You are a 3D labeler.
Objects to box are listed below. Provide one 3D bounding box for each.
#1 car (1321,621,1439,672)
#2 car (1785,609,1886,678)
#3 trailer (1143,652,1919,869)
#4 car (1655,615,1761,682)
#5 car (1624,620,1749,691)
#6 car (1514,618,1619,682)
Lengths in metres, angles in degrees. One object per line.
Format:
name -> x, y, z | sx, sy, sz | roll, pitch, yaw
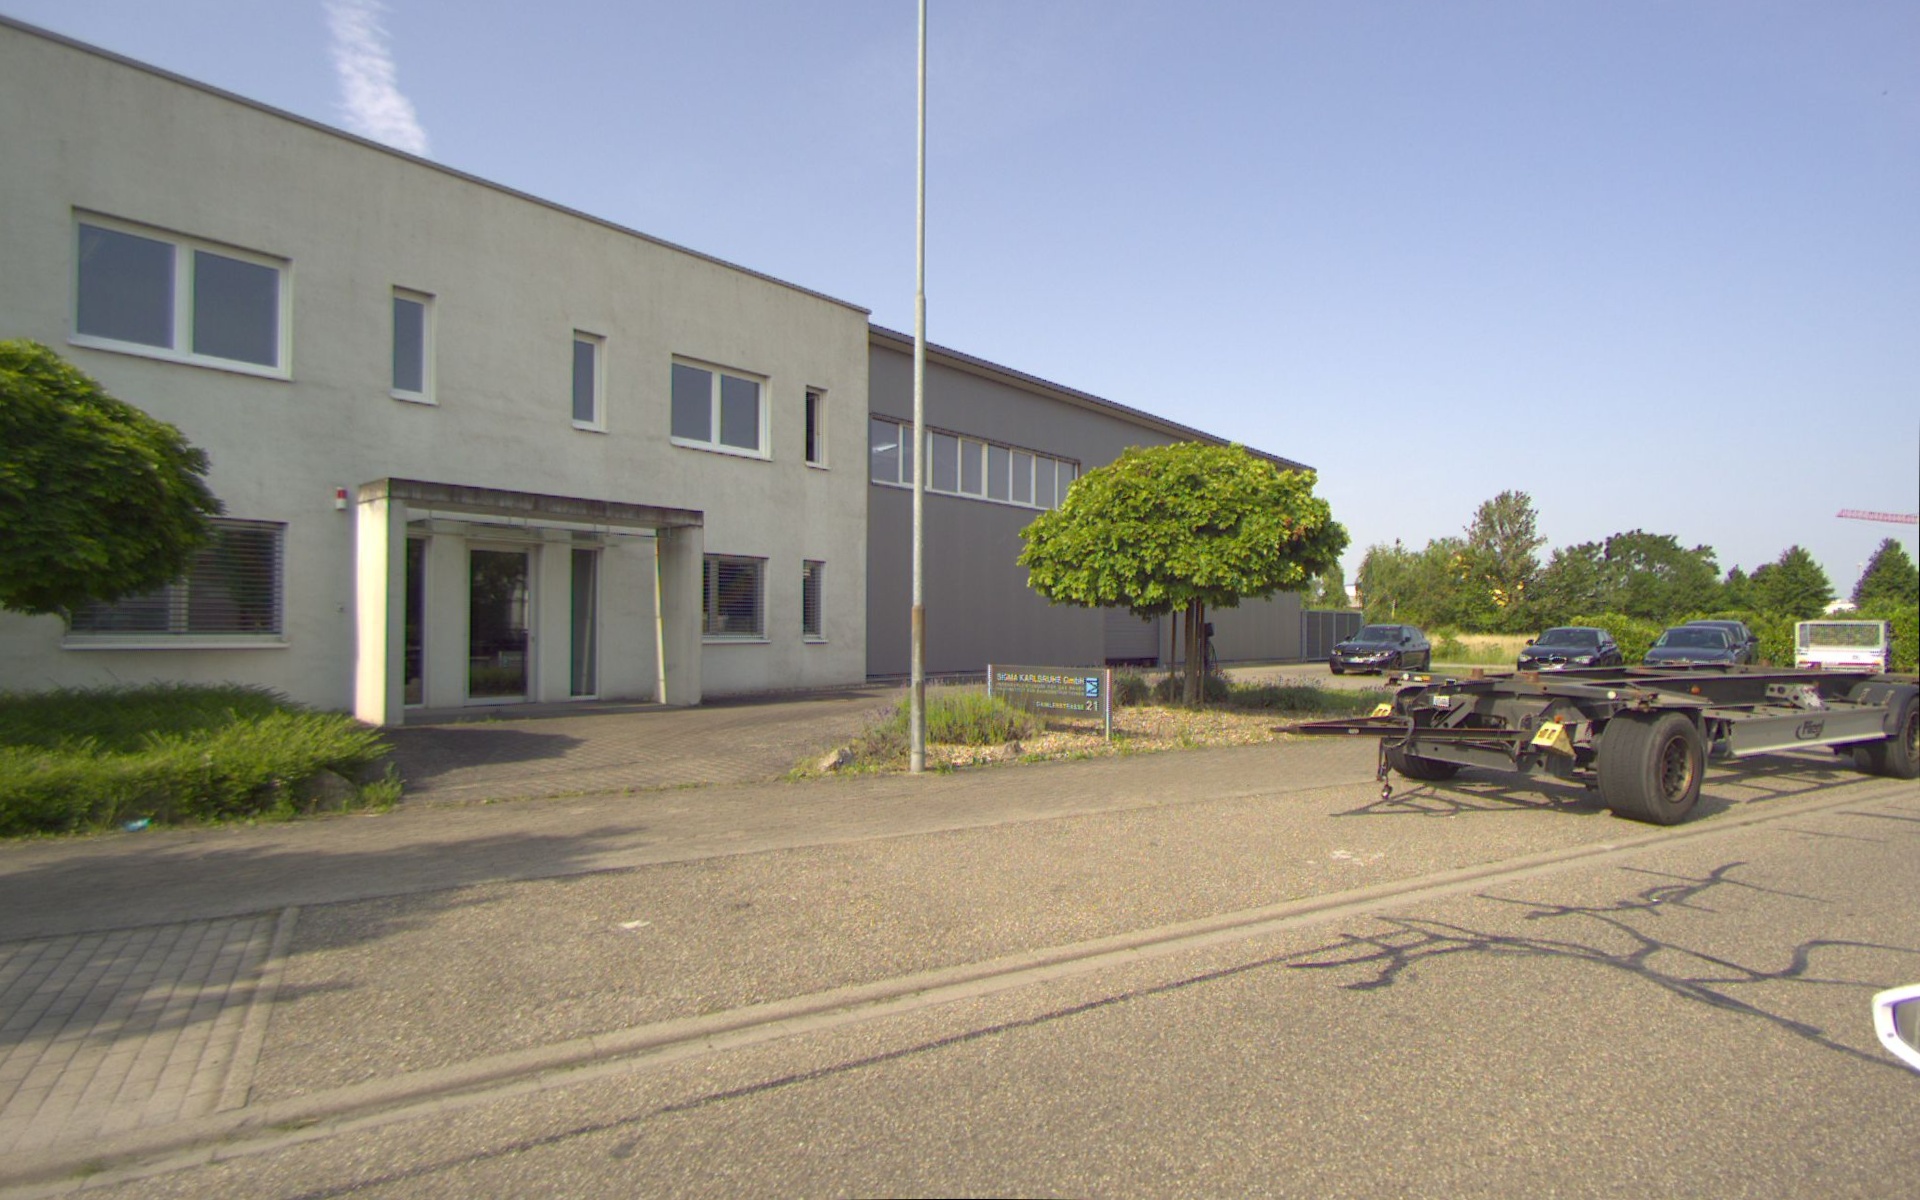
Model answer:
car -> 12.304, 1.298, 29.296 | 1.966, 1.342, 4.330 | 0, -1, 40
car -> 22.587, 1.081, 25.876 | 1.813, 1.593, 3.795 | 2, 0, 43
trailer -> 6.287, 1.160, 9.689 | 9.618, 1.088, 2.533 | 1, 0, -31
car -> 20.850, 1.298, 27.917 | 1.967, 1.680, 4.398 | 0, -1, 42
car -> 17.444, 1.266, 24.036 | 1.954, 1.496, 4.398 | 0, -1, 42
car -> 15.723, 1.241, 25.946 | 1.659, 1.496, 4.330 | 0, -1, 40
